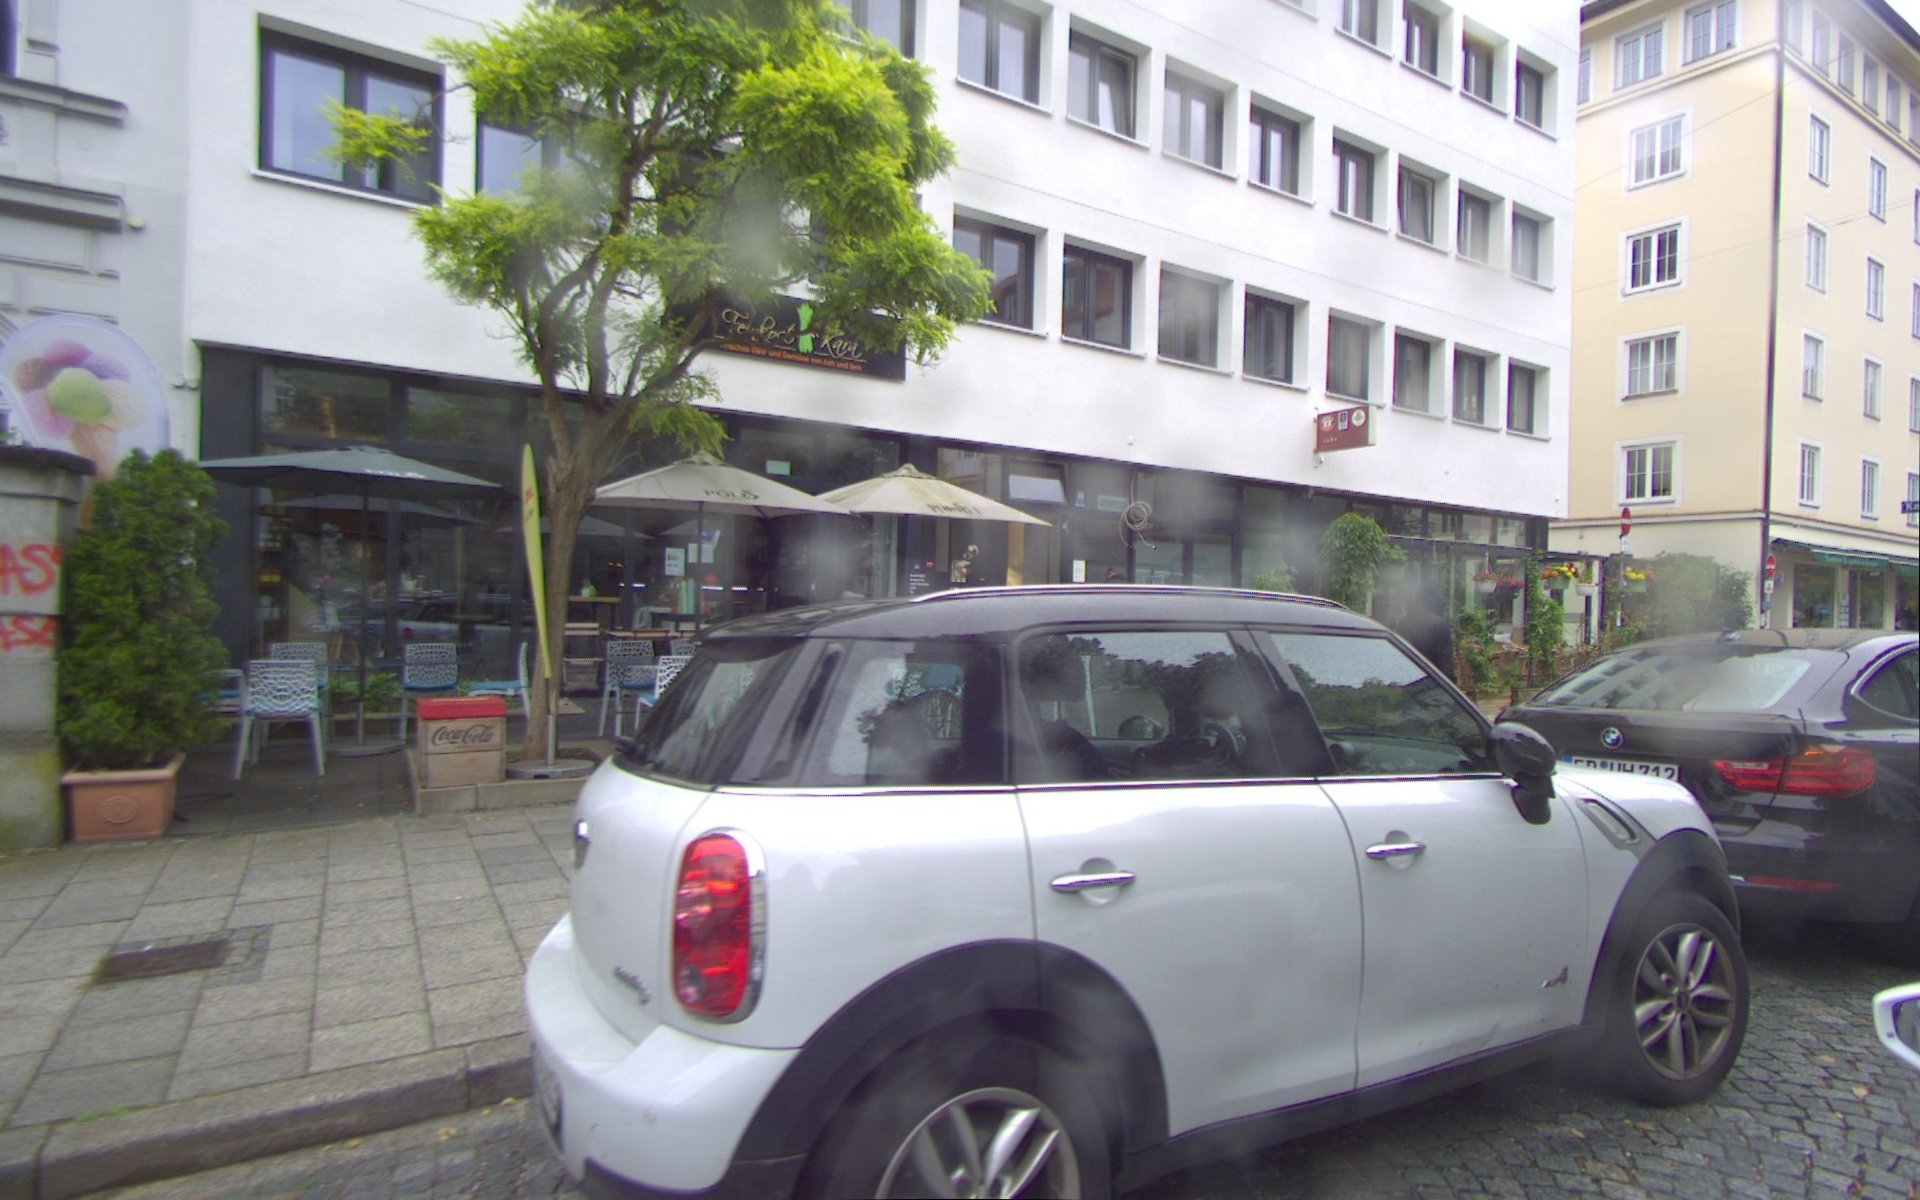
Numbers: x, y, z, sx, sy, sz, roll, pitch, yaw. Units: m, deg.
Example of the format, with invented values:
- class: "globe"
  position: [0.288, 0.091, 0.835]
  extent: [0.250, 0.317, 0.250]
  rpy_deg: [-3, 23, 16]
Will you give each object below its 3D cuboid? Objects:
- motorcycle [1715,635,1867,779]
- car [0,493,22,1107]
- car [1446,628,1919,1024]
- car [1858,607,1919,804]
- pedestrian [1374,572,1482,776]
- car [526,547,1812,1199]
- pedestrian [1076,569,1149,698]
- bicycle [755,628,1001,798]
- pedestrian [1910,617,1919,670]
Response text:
- class: "motorcycle"
  position: [8.873, 1.087, 10.698]
  extent: [2.038, 1.387, 0.670]
  rpy_deg: [2, 0, -34]
- class: "car"
  position: [-3.509, 0.559, 0.689]
  extent: [3.855, 1.746, 1.708]
  rpy_deg: [2, -2, -32]
- class: "car"
  position: [4.889, 0.932, 5.686]
  extent: [4.422, 1.484, 1.717]
  rpy_deg: [2, -3, -31]
- class: "car"
  position: [9.245, 0.876, 8.396]
  extent: [3.941, 1.502, 1.651]
  rpy_deg: [2, 0, -34]
- class: "pedestrian"
  position: [4.499, 0.685, 9.653]
  extent: [0.807, 1.865, 0.609]
  rpy_deg: [2, 0, -38]
- class: "car"
  position: [0.759, 0.732, 3.144]
  extent: [3.731, 1.524, 1.686]
  rpy_deg: [2, 0, -29]
- class: "pedestrian"
  position: [2.068, 0.434, 13.646]
  extent: [0.774, 1.683, 0.553]
  rpy_deg: [0, 3, -29]
- class: "bicycle"
  position: [-0.594, 0.832, 7.729]
  extent: [1.888, 1.190, 0.359]
  rpy_deg: [2, 0, -30]
- class: "pedestrian"
  position: [30.295, 1.369, 31.540]
  extent: [0.623, 1.664, 0.519]
  rpy_deg: [2, 0, -32]
